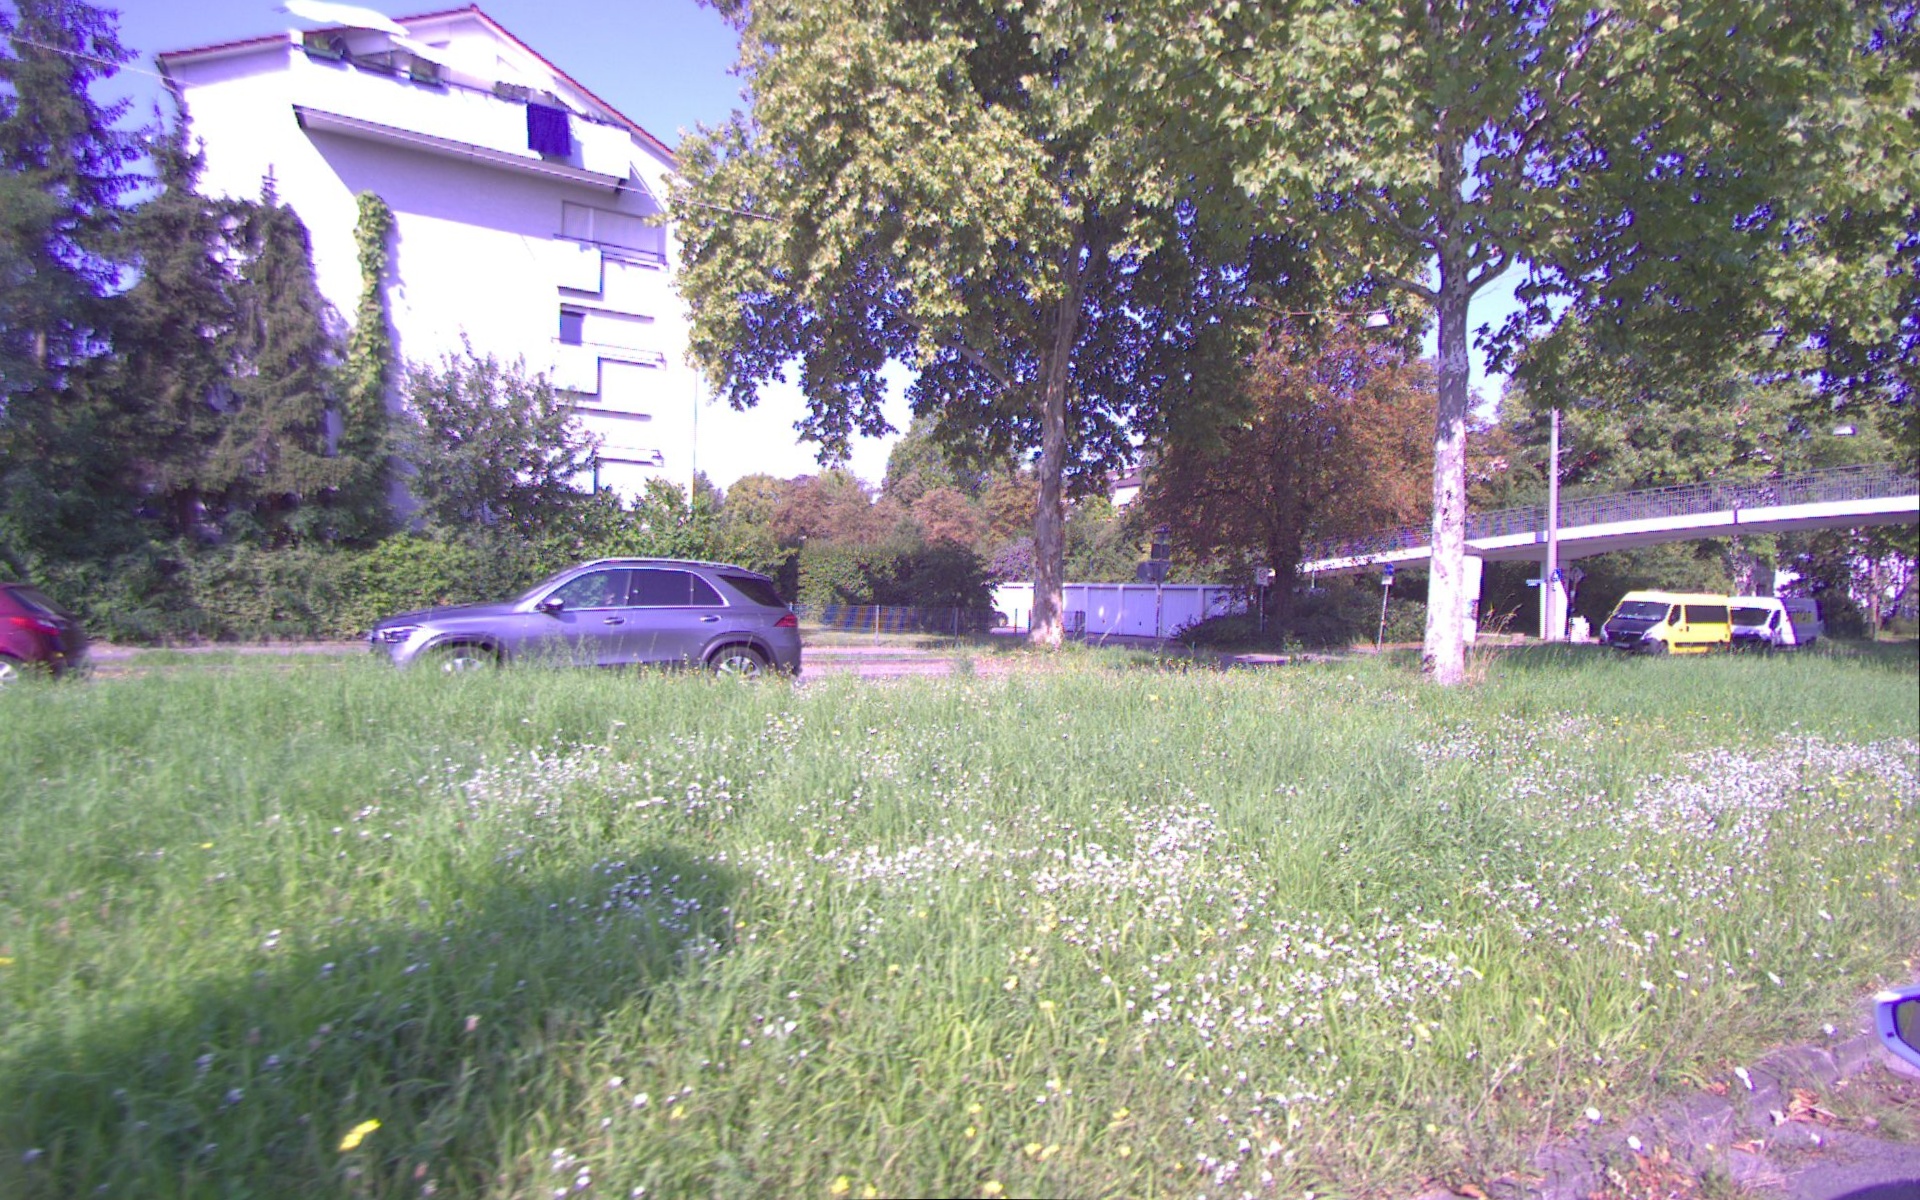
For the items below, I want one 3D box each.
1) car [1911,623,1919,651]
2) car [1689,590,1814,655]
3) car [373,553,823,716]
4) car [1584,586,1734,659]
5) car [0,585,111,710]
[{"bbox_3d":[54.965,2.099,56.131,3.816,1.553,1.516,1,0,-28],"label":"car"},{"bbox_3d":[33.034,0.930,41.862,6.199,2.462,2.194,1,1,-34],"label":"car"},{"bbox_3d":[-4.227,0.379,12.051,4.799,1.638,1.766,1,1,-30],"label":"car"},{"bbox_3d":[26.289,0.845,37.723,5.989,2.513,2.197,1,1,-30],"label":"car"},{"bbox_3d":[-12.293,0.516,11.378,3.854,1.383,1.636,0,1,-31],"label":"car"}]
